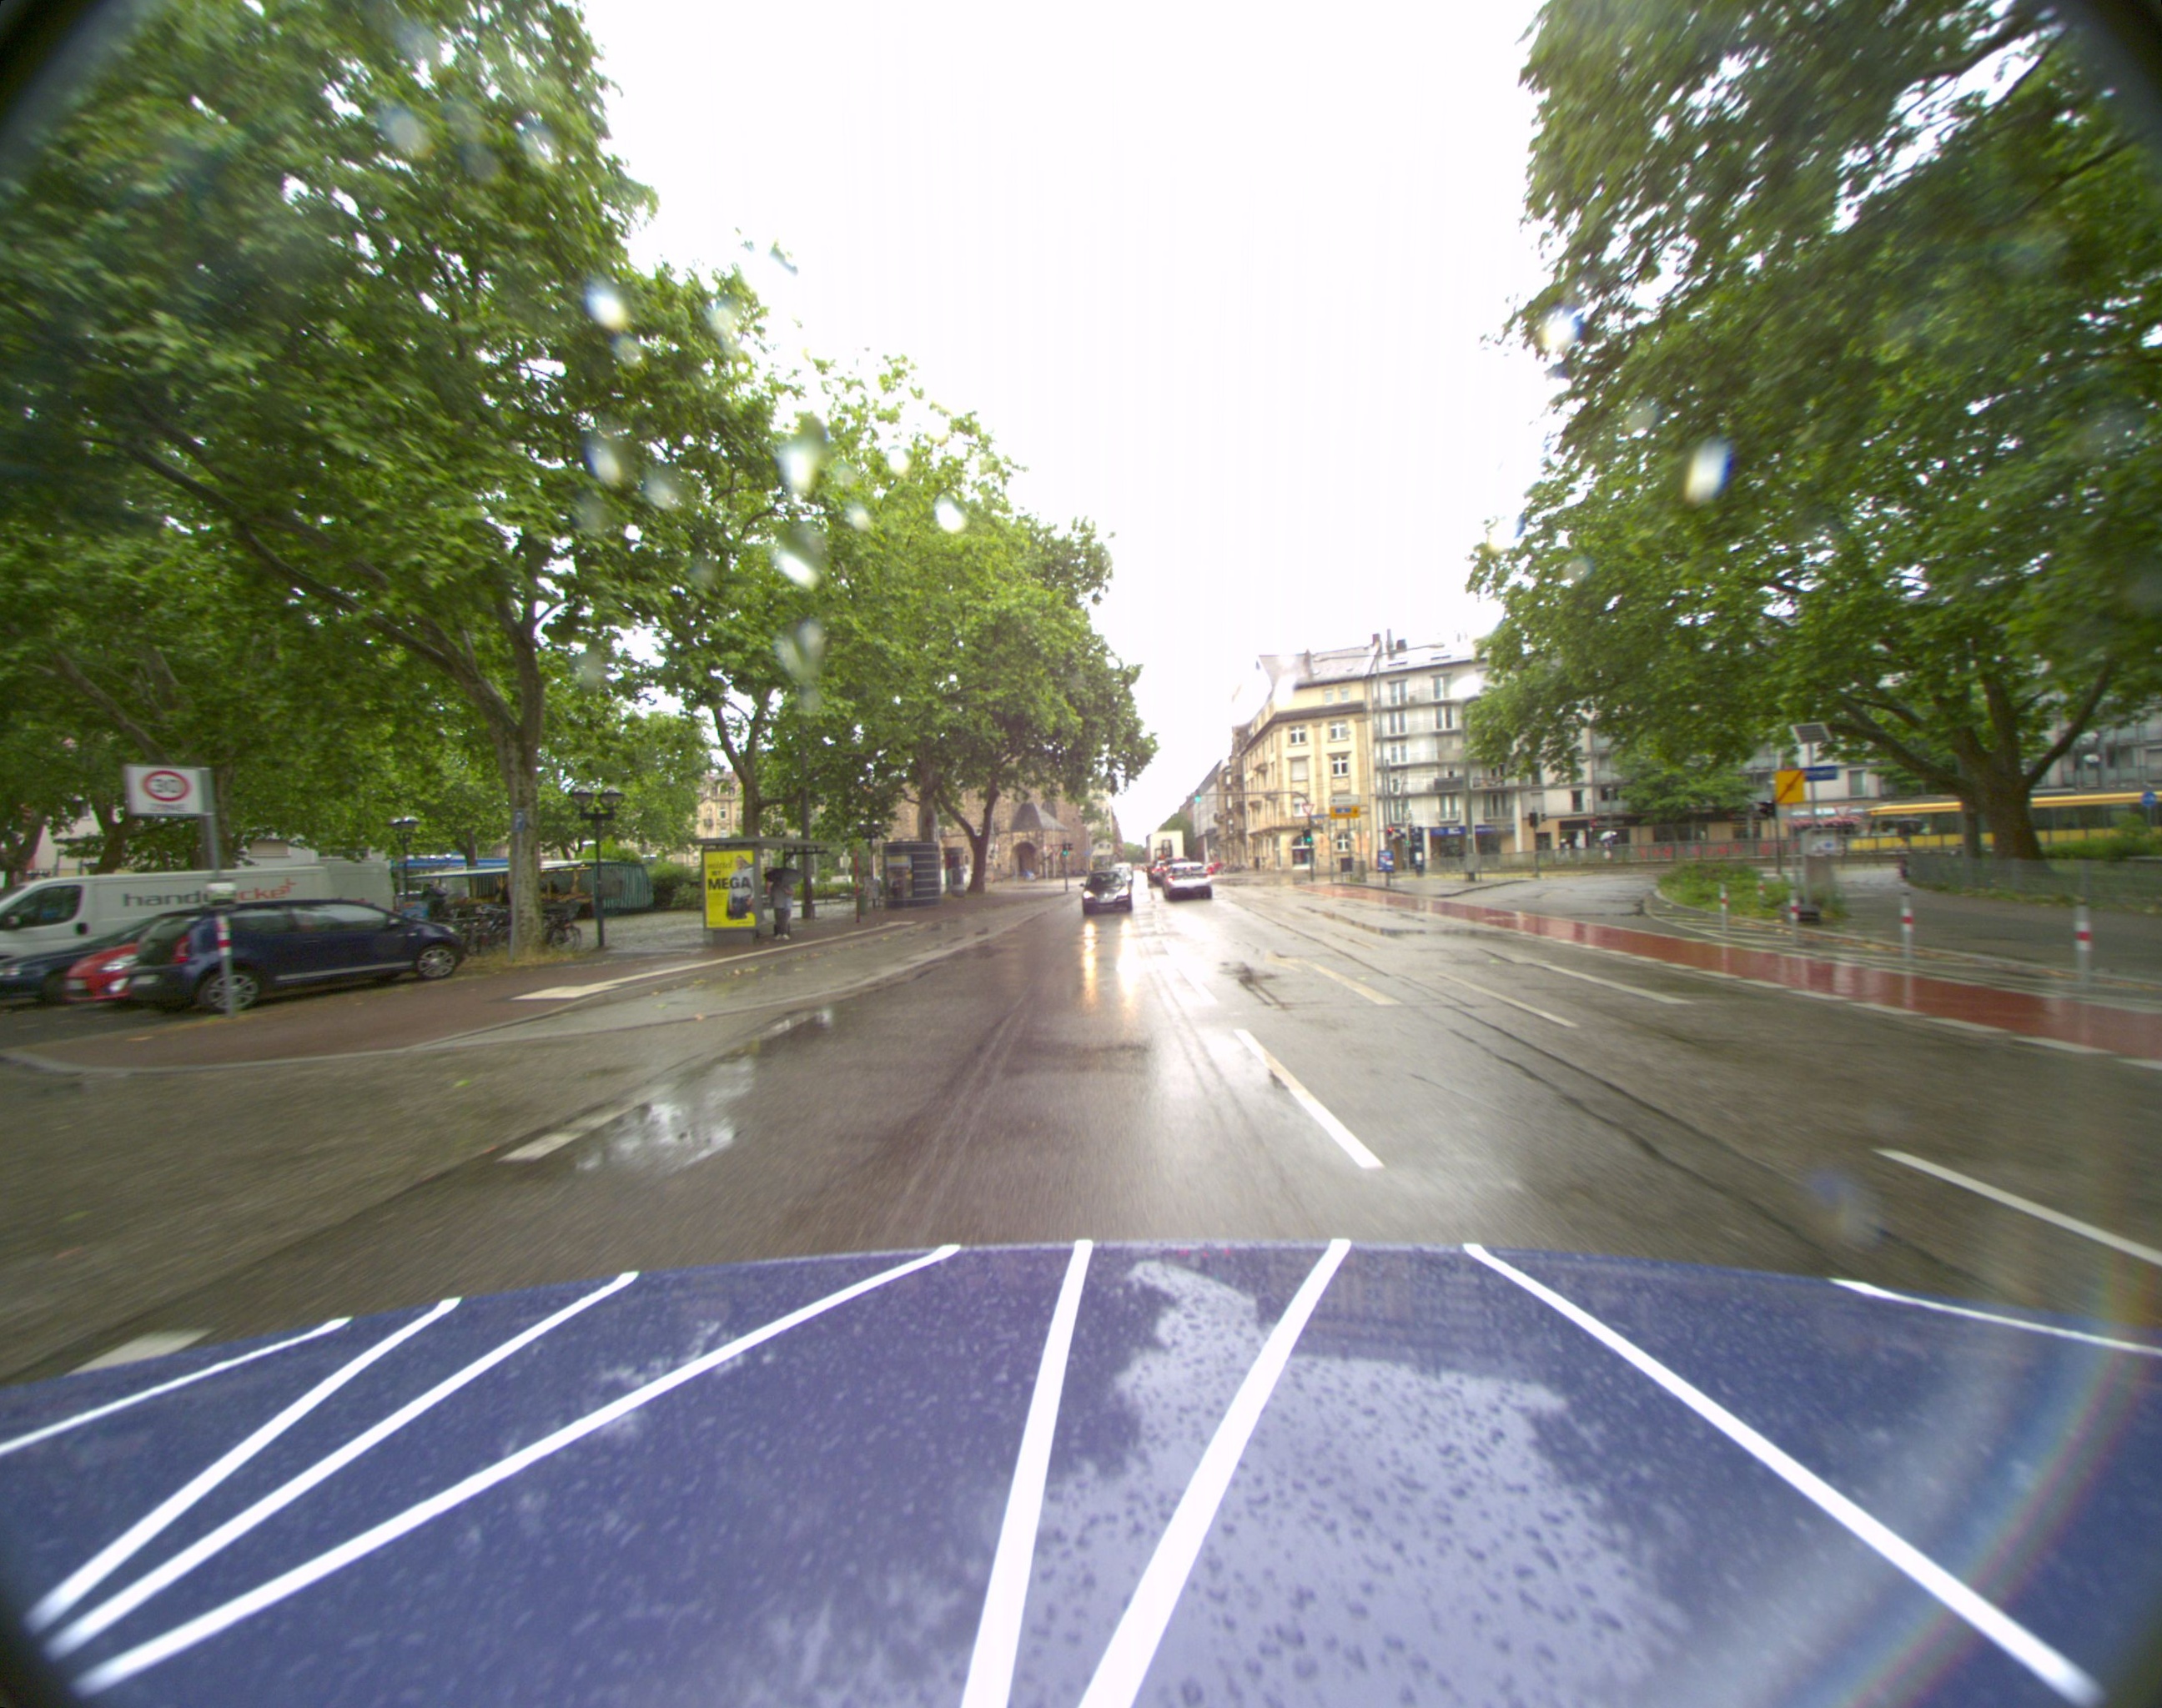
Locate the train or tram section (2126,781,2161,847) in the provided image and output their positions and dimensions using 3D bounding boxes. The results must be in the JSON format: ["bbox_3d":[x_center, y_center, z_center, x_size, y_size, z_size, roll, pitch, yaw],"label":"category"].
[{"bbox_3d":[61.956,-2.310,37.732,11.548,3.483,3.078,-2,0,28],"label":"train or tram section"}]

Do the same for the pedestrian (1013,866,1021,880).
[{"bbox_3d":[-8.051,2.396,95.447,0.676,1.692,0.635,-2,-1,42],"label":"pedestrian"}]

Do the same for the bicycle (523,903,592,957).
[{"bbox_3d":[-12.347,1.779,17.904,1.762,1.188,0.500,-2,0,26],"label":"bicycle"}]

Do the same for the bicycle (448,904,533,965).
[{"bbox_3d":[-13.023,1.758,16.747,1.836,1.250,0.712,-2,0,26],"label":"bicycle"}]

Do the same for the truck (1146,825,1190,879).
[{"bbox_3d":[7.045,-0.076,62.845,2.852,4.001,10.319,-2,-1,3],"label":"truck"}]

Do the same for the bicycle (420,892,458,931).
[{"bbox_3d":[-24.969,2.216,29.596,0.753,1.369,2.701,-1,-1,-33],"label":"bicycle"}]

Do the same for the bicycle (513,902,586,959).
[{"bbox_3d":[-12.453,1.771,17.781,1.836,1.250,0.526,-2,0,26],"label":"bicycle"}]

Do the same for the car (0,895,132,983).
[{"bbox_3d":[-25.515,2.060,17.601,2.156,1.827,4.006,-2,1,29],"label":"car"}]

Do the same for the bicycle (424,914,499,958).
[{"bbox_3d":[-14.936,1.954,18.295,2.253,0.962,0.535,-2,0,28],"label":"bicycle"}]

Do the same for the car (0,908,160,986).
[{"bbox_3d":[-23.410,2.091,16.697,1.680,1.424,3.741,-2,2,31],"label":"car"}]

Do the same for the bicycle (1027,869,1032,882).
[{"bbox_3d":[-6.268,2.611,92.296,0.533,1.457,1.940,-2,-1,-5],"label":"bicycle"}]

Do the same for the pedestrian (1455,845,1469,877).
[{"bbox_3d":[25.345,0.485,50.576,0.701,2.065,0.638,-2,0,24],"label":"pedestrian"}]

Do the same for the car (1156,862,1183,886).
[{"bbox_3d":[6.170,1.376,53.241,1.746,1.594,4.002,-2,-1,5],"label":"car"}]

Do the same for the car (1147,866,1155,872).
[{"bbox_3d":[16.656,3.540,180.758,1.747,1.537,3.780,-2,-1,4],"label":"car"}]

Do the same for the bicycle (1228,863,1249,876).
[{"bbox_3d":[18.322,1.816,88.446,2.346,1.338,0.640,-2,-1,0],"label":"bicycle"}]

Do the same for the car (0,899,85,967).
[{"bbox_3d":[-32.409,2.412,21.996,1.835,1.827,4.006,-2,2,29],"label":"car"}]

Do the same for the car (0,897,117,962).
[{"bbox_3d":[-34.128,2.463,24.125,1.835,1.827,4.006,-2,2,29],"label":"car"}]

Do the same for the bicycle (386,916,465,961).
[{"bbox_3d":[-15.278,1.943,17.696,2.248,0.962,0.586,-2,0,28],"label":"bicycle"}]

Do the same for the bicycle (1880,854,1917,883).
[{"bbox_3d":[28.305,0.492,26.282,2.321,0.864,0.637,-3,0,-38],"label":"bicycle"}]

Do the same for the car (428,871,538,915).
[{"bbox_3d":[-30.304,1.946,38.616,1.950,2.001,3.877,-2,-1,30],"label":"car"}]

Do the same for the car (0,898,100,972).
[{"bbox_3d":[-29.951,2.288,20.456,1.835,1.827,4.006,-2,2,29],"label":"car"}]

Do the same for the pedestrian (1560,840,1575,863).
[{"bbox_3d":[35.239,-0.179,55.018,0.754,1.639,0.839,-1,0,25],"label":"pedestrian"}]

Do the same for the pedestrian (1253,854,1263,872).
[{"bbox_3d":[19.974,1.017,85.776,0.919,1.955,0.701,-3,2,14],"label":"pedestrian"}]

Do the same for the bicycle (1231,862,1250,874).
[{"bbox_3d":[18.650,1.593,88.808,2.062,1.338,0.585,-2,-1,-1],"label":"bicycle"}]

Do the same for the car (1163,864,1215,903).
[{"bbox_3d":[4.588,1.205,32.695,1.849,1.501,4.057,-2,-1,3],"label":"car"}]

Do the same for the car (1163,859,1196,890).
[{"bbox_3d":[6.152,1.257,47.907,1.810,1.850,4.111,-2,-1,5],"label":"car"}]

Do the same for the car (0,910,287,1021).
[{"bbox_3d":[-16.352,1.819,13.118,1.583,1.329,3.267,-2,2,29],"label":"car"}]

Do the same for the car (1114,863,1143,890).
[{"bbox_3d":[3.289,1.514,51.774,1.810,1.683,4.111,-2,-1,5],"label":"car"}]

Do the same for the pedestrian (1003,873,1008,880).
[{"bbox_3d":[-9.696,2.912,97.460,0.455,0.879,0.397,-2,-1,25],"label":"pedestrian"}]

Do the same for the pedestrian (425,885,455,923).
[{"bbox_3d":[-25.020,1.935,29.665,0.748,1.389,1.044,-1,0,-33],"label":"pedestrian"}]

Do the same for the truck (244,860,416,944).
[{"bbox_3d":[-26.876,1.685,27.145,6.385,2.683,2.272,-2,0,26],"label":"truck"}]

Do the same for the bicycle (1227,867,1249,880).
[{"bbox_3d":[18.068,2.247,87.662,2.346,1.338,0.640,-2,-1,0],"label":"bicycle"}]

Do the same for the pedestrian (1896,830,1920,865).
[{"bbox_3d":[44.068,-0.358,40.493,0.678,1.827,0.641,-1,0,27],"label":"pedestrian"}]

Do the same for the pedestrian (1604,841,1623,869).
[{"bbox_3d":[32.609,0.060,46.559,0.815,1.639,0.795,-1,0,28],"label":"pedestrian"}]

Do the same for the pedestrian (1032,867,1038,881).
[{"bbox_3d":[-5.605,2.430,92.250,0.604,1.653,0.689,-2,-1,8],"label":"pedestrian"}]

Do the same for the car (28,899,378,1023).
[{"bbox_3d":[-14.231,1.651,12.605,1.527,1.448,3.392,-2,2,15],"label":"car"}]

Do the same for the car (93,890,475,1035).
[{"bbox_3d":[-11.762,1.486,11.548,1.690,1.542,3.526,-2,2,20],"label":"car"}]

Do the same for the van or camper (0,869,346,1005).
[{"bbox_3d":[-18.821,1.529,15.197,2.398,2.218,5.440,-2,0,32],"label":"van or camper"}]

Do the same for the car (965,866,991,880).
[{"bbox_3d":[-13.931,2.607,102.673,1.732,1.565,3.363,-3,2,31],"label":"car"}]

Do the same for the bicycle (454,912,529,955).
[{"bbox_3d":[-14.647,1.960,18.870,2.283,0.977,0.546,-2,0,28],"label":"bicycle"}]

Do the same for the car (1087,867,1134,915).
[{"bbox_3d":[1.149,1.300,27.912,1.547,1.553,4.073,-2,-1,4],"label":"car"}]

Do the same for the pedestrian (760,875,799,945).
[{"bbox_3d":[-7.524,1.383,18.982,0.719,1.659,0.665,-2,0,-9],"label":"pedestrian"}]

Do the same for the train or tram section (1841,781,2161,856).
[{"bbox_3d":[51.794,-1.845,43.248,11.548,3.483,3.078,-2,0,28],"label":"train or tram section"}]
